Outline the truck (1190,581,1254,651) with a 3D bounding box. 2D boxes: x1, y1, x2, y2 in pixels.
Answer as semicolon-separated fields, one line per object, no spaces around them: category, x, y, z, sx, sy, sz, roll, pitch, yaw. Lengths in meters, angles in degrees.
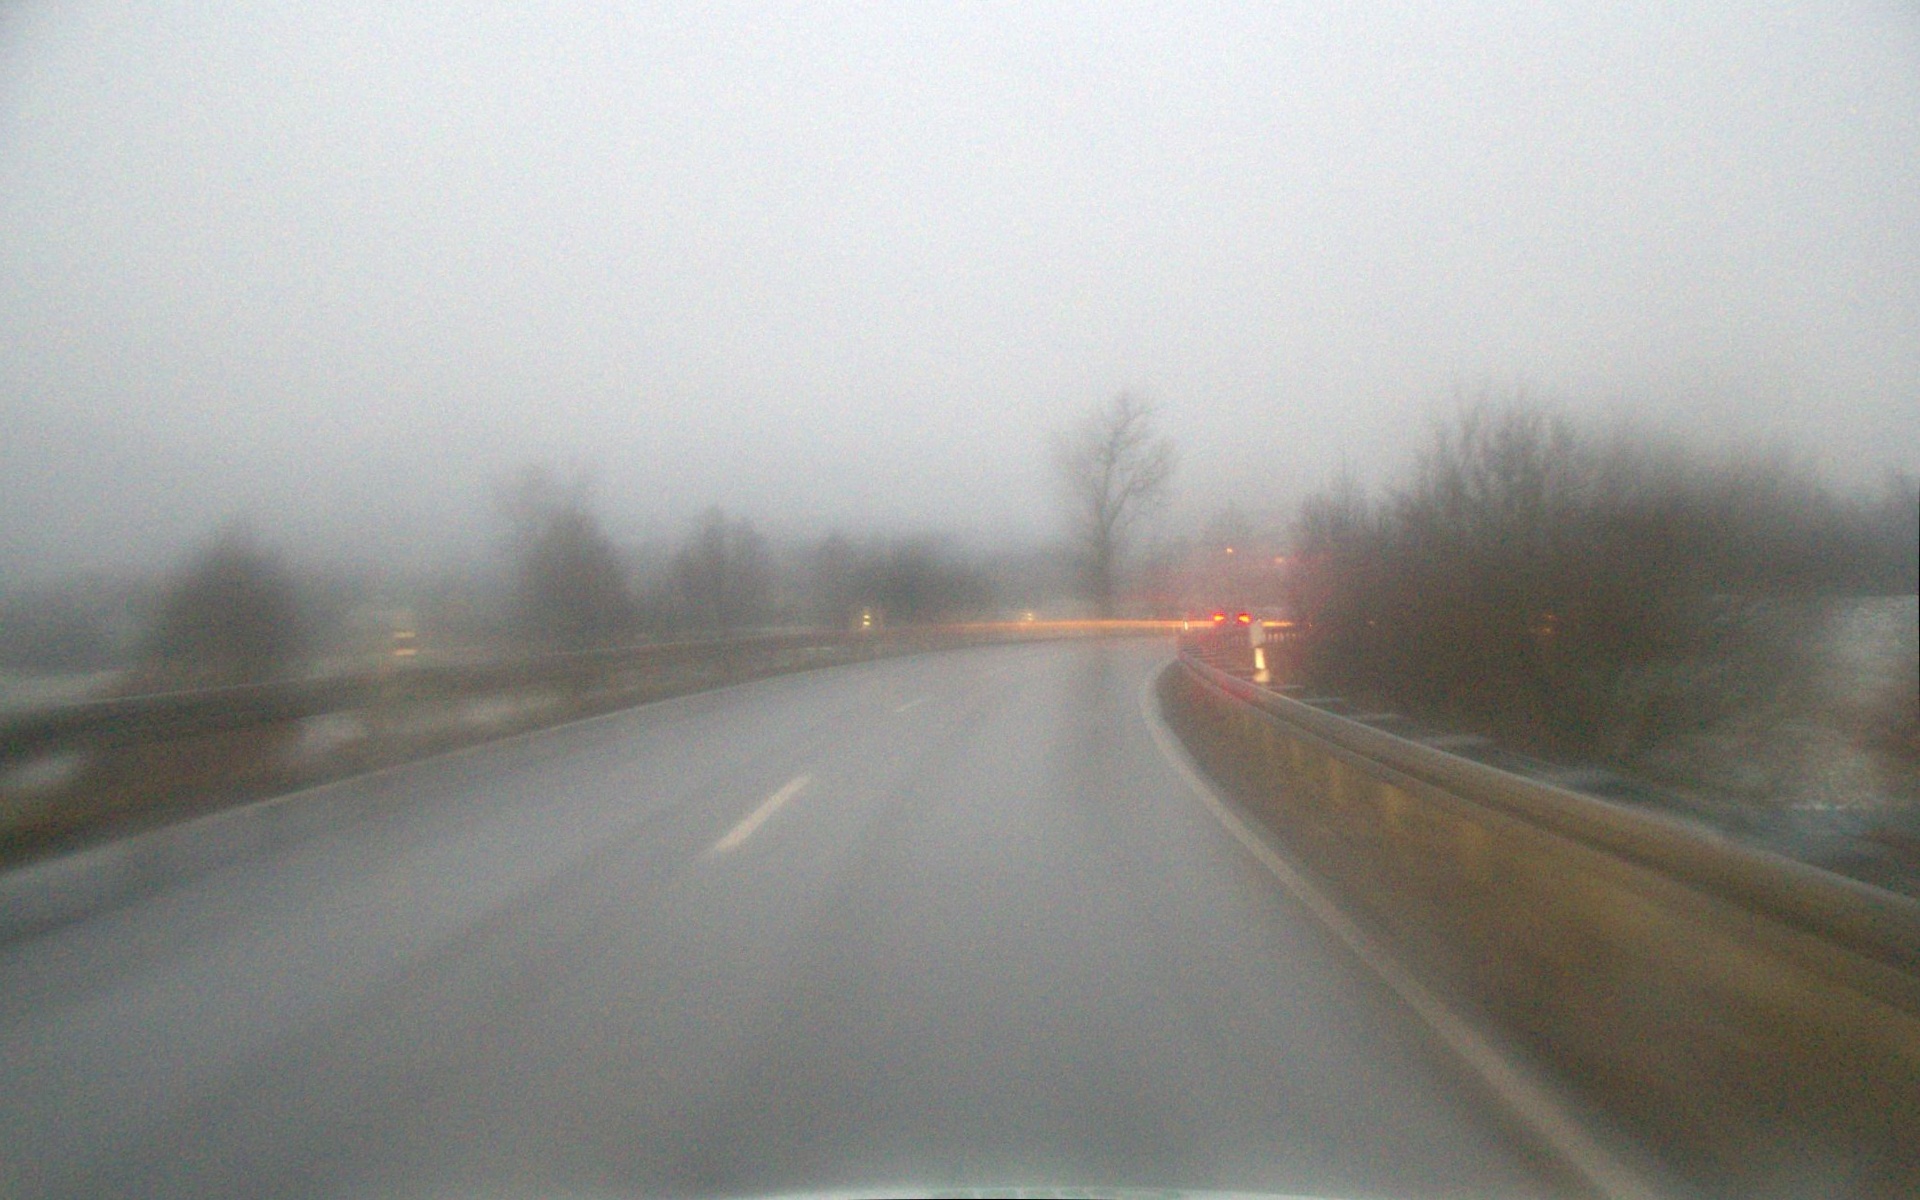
truck;12.701;0.826;80.573;2.481;2.917;5.925;8;-1;7
